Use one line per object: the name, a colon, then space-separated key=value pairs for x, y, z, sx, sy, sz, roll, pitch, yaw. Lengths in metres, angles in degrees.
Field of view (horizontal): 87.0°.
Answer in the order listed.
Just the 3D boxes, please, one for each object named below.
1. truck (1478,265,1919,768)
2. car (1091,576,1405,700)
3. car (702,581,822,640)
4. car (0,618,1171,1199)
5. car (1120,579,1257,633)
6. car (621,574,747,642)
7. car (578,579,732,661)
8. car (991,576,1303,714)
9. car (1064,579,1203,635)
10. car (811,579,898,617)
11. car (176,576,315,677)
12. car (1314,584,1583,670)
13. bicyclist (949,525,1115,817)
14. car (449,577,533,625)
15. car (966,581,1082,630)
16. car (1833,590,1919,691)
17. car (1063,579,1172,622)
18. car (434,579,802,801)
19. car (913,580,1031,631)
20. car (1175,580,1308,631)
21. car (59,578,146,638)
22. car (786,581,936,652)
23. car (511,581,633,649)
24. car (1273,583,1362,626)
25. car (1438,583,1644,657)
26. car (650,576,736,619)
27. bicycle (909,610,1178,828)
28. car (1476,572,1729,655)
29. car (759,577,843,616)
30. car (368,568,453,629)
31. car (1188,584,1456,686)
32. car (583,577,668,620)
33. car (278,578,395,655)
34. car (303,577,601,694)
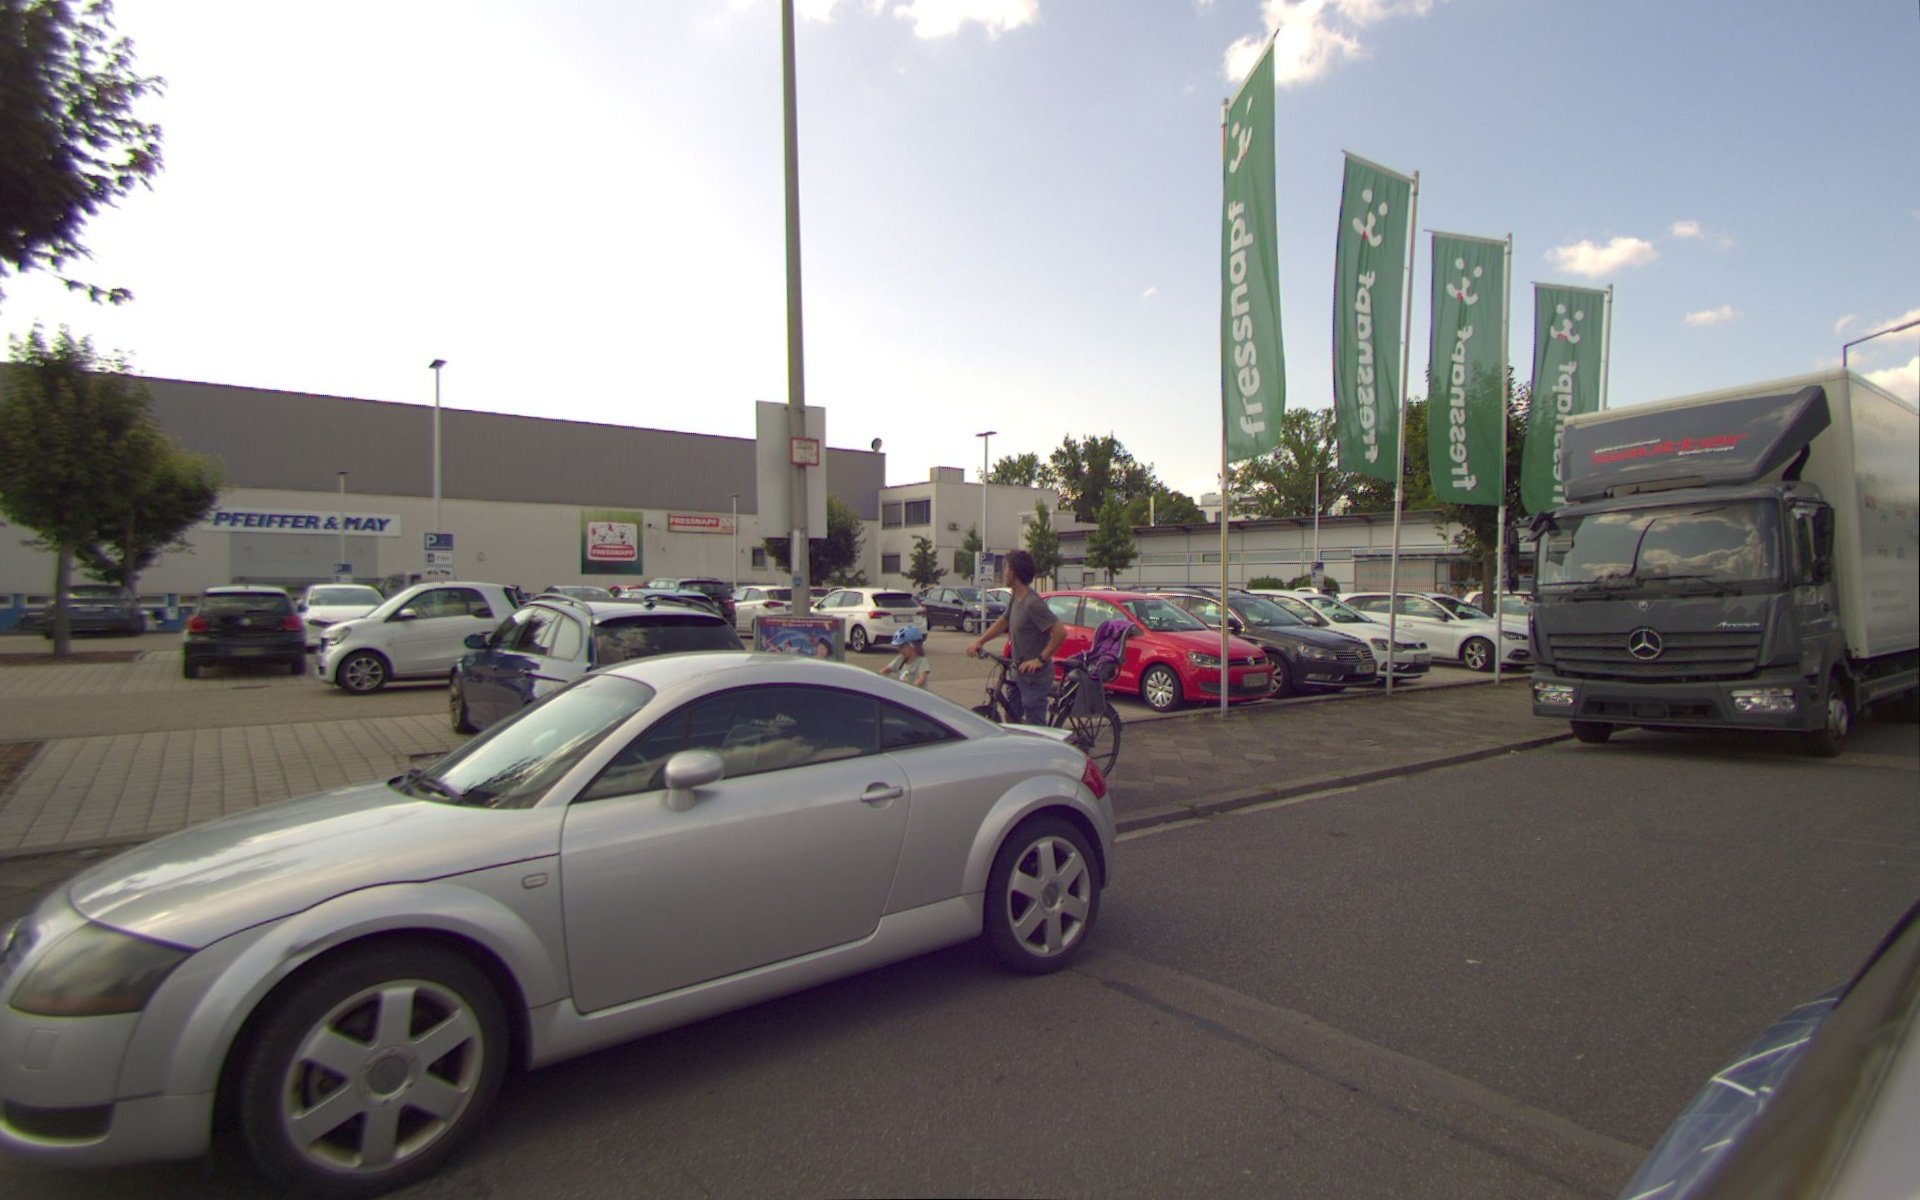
truck: x=9.580 y=-0.690 z=11.945 sx=8.126 sy=4.169 sz=2.785 roll=0 pitch=-2 yaw=-37
car: x=4.177 y=0.450 z=15.242 sx=1.719 sy=1.561 sz=4.292 roll=0 pitch=2 yaw=-42
car: x=-5.667 y=0.229 z=28.661 sx=1.694 sy=1.502 sz=3.944 roll=0 pitch=2 yaw=-39
car: x=-1.133 y=0.812 z=3.962 sx=3.912 sy=1.358 sz=1.665 roll=0 pitch=-3 yaw=-38
car: x=7.006 y=0.133 z=31.292 sx=1.694 sy=1.502 sz=3.944 roll=0 pitch=2 yaw=-39
car: x=-7.315 y=0.148 z=26.571 sx=1.709 sy=1.597 sz=4.067 roll=0 pitch=2 yaw=-39
car: x=-6.486 y=0.346 z=21.238 sx=1.710 sy=1.502 sz=3.991 roll=0 pitch=2 yaw=-39
car: x=2.374 y=0.475 z=13.584 sx=1.719 sy=1.541 sz=3.890 roll=0 pitch=2 yaw=-42
car: x=5.093 y=0.168 z=30.169 sx=1.694 sy=1.502 sz=3.944 roll=0 pitch=2 yaw=-39
car: x=-4.575 y=-0.134 z=43.464 sx=1.694 sy=1.502 sz=4.140 roll=0 pitch=2 yaw=-39
car: x=-12.396 y=0.363 z=17.459 sx=1.694 sy=1.502 sz=4.004 roll=0 pitch=2 yaw=-39
car: x=9.600 y=0.449 z=20.220 sx=1.824 sy=1.455 sz=4.493 roll=0 pitch=2 yaw=-38
bicyclist: x=0.508 y=0.446 z=7.267 sx=0.813 sy=1.933 sz=0.797 roll=-1 pitch=4 yaw=-35
car: x=-15.986 y=-0.011 z=34.404 sx=1.694 sy=1.502 sz=3.931 roll=0 pitch=2 yaw=-39
car: x=2.123 y=0.134 z=34.332 sx=1.694 sy=1.502 sz=3.944 roll=0 pitch=2 yaw=-39
car: x=15.773 y=0.609 z=16.609 sx=3.561 sy=1.531 sz=1.548 roll=0 pitch=-2 yaw=-39
car: x=5.843 y=-0.020 z=37.928 sx=1.694 sy=1.502 sz=3.944 roll=0 pitch=2 yaw=-39
car: x=-3.304 y=0.576 z=9.165 sx=1.813 sy=1.461 sz=4.319 roll=0 pitch=2 yaw=-38
car: x=0.342 y=0.144 z=32.872 sx=1.694 sy=1.502 sz=3.944 roll=0 pitch=2 yaw=-39
car: x=9.177 y=0.132 z=33.250 sx=1.694 sy=1.502 sz=3.944 roll=0 pitch=2 yaw=-39
car: x=-23.621 y=0.157 z=27.961 sx=1.724 sy=1.502 sz=4.059 roll=0 pitch=2 yaw=-39
car: x=-2.441 y=0.327 z=24.312 sx=1.694 sy=1.502 sz=3.944 roll=0 pitch=2 yaw=-39
car: x=-9.735 y=0.314 z=25.227 sx=1.694 sy=1.502 sz=4.029 roll=0 pitch=2 yaw=-39
car: x=13.439 y=0.136 z=38.090 sx=1.617 sy=1.563 sz=2.716 roll=0 pitch=1 yaw=-38
car: x=13.378 y=0.392 z=23.494 sx=1.622 sy=1.517 sz=3.824 roll=0 pitch=2 yaw=-36
car: x=-10.349 y=-0.137 z=39.089 sx=1.694 sy=1.502 sz=4.032 roll=0 pitch=2 yaw=-39
bicycle: x=0.636 y=0.779 z=7.394 sx=1.847 sy=1.310 sz=0.795 roll=-1 pitch=4 yaw=-36
car: x=15.635 y=0.233 z=24.895 sx=1.868 sy=1.810 sz=4.907 roll=0 pitch=2 yaw=-37
car: x=-6.656 y=-0.175 z=42.079 sx=1.694 sy=1.502 sz=4.023 roll=0 pitch=2 yaw=-39
car: x=-17.739 y=-0.100 z=32.612 sx=1.694 sy=1.822 sz=4.074 roll=0 pitch=2 yaw=-39
car: x=5.956 y=0.484 z=16.978 sx=1.719 sy=1.450 sz=3.890 roll=0 pitch=2 yaw=-42
car: x=-12.521 y=-0.096 z=37.734 sx=1.694 sy=1.502 sz=4.040 roll=0 pitch=2 yaw=-39
car: x=-13.890 y=0.301 z=22.454 sx=1.694 sy=1.502 sz=4.019 roll=0 pitch=2 yaw=-39
car: x=-7.486 y=0.447 z=15.066 sx=3.686 sy=1.538 sz=1.722 roll=0 pitch=0 yaw=-40
